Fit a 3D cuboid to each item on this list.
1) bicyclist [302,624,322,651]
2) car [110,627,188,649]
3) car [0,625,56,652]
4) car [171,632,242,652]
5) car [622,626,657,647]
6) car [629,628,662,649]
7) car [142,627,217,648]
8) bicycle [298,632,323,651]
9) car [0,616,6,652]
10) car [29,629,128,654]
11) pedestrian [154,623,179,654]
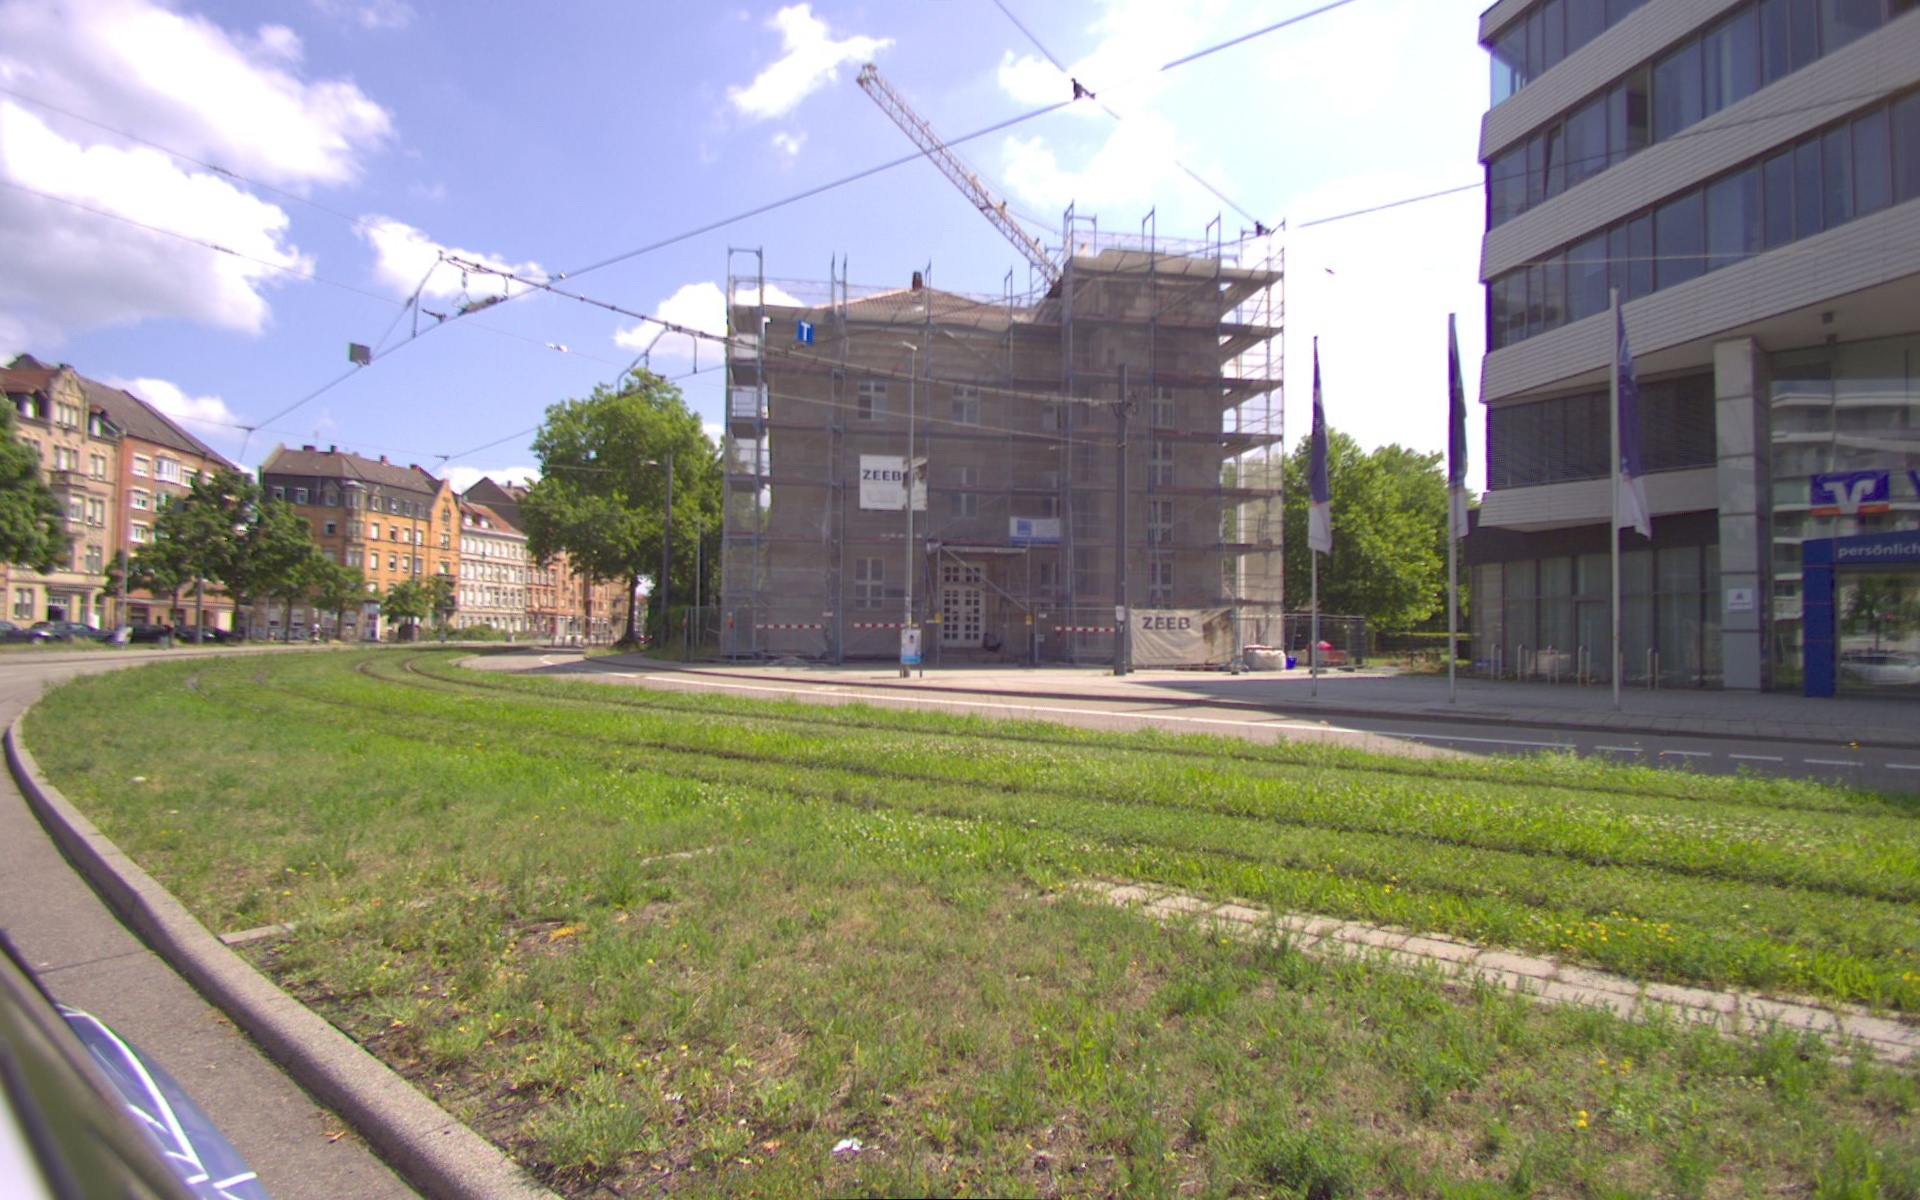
[{"bbox_3d":[-47.341,2.734,73.888,0.686,1.838,0.958,6,-4,-7],"label":"bicyclist"},{"bbox_3d":[-53.235,2.487,66.540,3.936,1.391,1.965,1,-2,-38],"label":"car"},{"bbox_3d":[-50.389,2.038,53.123,1.852,1.391,4.208,-2,-2,43],"label":"car"},{"bbox_3d":[-54.216,2.994,72.884,3.932,1.364,1.967,1,-2,-33],"label":"car"},{"bbox_3d":[-21.897,2.513,69.171,1.900,1.379,4.328,-1,-2,-12],"label":"car"},{"bbox_3d":[-23.169,2.857,74.640,1.901,1.431,4.058,-1,-2,-10],"label":"car"},{"bbox_3d":[-53.594,2.553,69.505,3.939,1.391,1.963,1,-2,-43],"label":"car"},{"bbox_3d":[-47.353,3.021,73.788,0.685,1.251,1.842,6,-4,-7],"label":"bicycle"},{"bbox_3d":[-49.511,1.690,49.331,1.852,1.754,4.304,-2,-2,43],"label":"car"},{"bbox_3d":[-51.681,2.425,59.394,1.852,1.391,4.208,-2,-2,43],"label":"car"},{"bbox_3d":[-44.902,2.178,57.306,0.691,1.717,1.047,1,0,-12],"label":"pedestrian"}]
